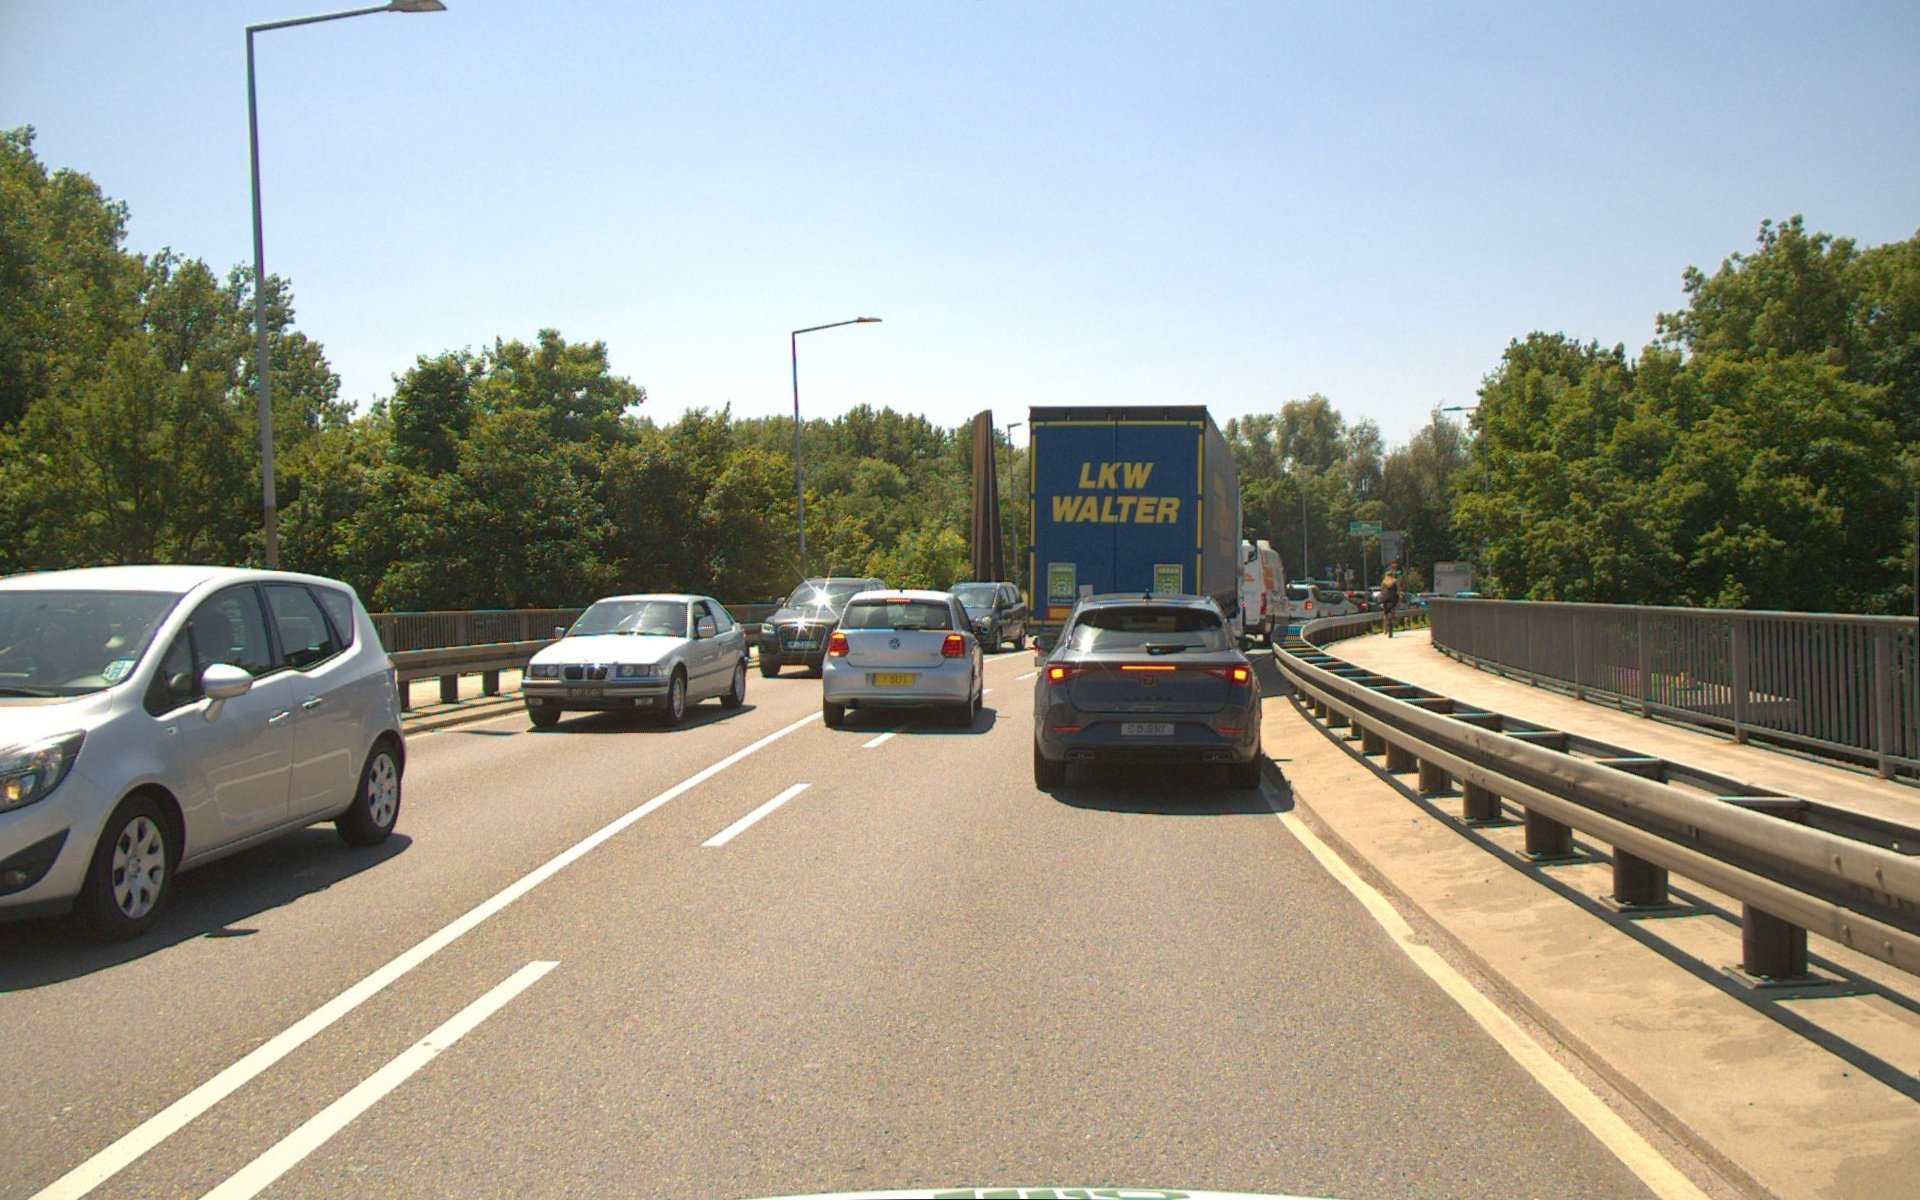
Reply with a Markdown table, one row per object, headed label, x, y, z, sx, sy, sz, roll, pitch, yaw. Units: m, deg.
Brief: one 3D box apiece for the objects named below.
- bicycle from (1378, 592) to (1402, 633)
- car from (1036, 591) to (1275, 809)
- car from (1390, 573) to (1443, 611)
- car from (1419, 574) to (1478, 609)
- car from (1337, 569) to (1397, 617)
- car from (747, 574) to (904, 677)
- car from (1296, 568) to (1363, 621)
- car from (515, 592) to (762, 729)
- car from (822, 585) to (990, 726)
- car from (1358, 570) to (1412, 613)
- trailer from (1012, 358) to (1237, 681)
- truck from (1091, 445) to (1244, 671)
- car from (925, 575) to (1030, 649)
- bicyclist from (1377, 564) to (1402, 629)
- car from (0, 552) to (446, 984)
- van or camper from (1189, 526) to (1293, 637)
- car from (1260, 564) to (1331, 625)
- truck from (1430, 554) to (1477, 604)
| label | x | y | z | sx | sy | sz | roll | pitch | yaw |
| --- | --- | --- | --- | --- | --- | --- | --- | --- | --- |
| bicycle | 11.677 | 0.324 | 44.888 | 0.569 | 1.053 | 1.486 | -3 | 0 | 14 |
| car | 1.513 | 0.677 | 13.409 | 1.642 | 1.481 | 3.961 | 0 | 0 | 5 |
| car | 22.004 | -0.381 | 79.646 | 1.653 | 1.791 | 3.994 | 0 | 0 | 28 |
| car | 25.395 | -0.436 | 85.882 | 1.957 | 1.602 | 3.990 | 2 | 0 | 31 |
| car | 16.603 | -0.311 | 67.356 | 1.686 | 1.876 | 3.998 | 0 | 1 | 24 |
| car | -2.276 | 0.392 | 29.169 | 1.762 | 1.669 | 4.304 | 0 | 0 | 9 |
| car | 13.352 | -0.219 | 59.617 | 1.686 | 1.834 | 3.999 | 0 | 1 | 23 |
| car | -3.565 | 0.615 | 19.075 | 1.661 | 1.400 | 4.003 | -1 | 0 | 6 |
| car | -0.529 | 0.564 | 19.286 | 1.642 | 1.435 | 3.977 | 1 | 1 | 3 |
| car | 18.855 | -0.401 | 73.219 | 1.686 | 1.876 | 3.998 | 0 | 1 | 24 |
| trailer | 3.313 | -1.206 | 29.380 | 2.842 | 4.495 | 12.444 | 1 | 1 | 11 |
| truck | 4.700 | -0.895 | 36.461 | 2.842 | 4.495 | 6.561 | 1 | 1 | 11 |
| car | 0.481 | 0.251 | 39.900 | 1.670 | 1.654 | 4.256 | 1 | 1 | 12 |
| bicyclist | 11.637 | -0.091 | 44.806 | 0.565 | 1.712 | 0.730 | -3 | 0 | 14 |
| car | -4.173 | 0.618 | 8.281 | 1.700 | 1.607 | 4.178 | 0 | 0 | 3 |
| van or camper | 7.884 | -0.524 | 45.863 | 2.108 | 2.864 | 6.391 | 0 | 1 | 16 |
| car | 10.847 | -0.204 | 53.318 | 1.685 | 1.876 | 4.001 | 0 | 1 | 20 |
| truck | 29.706 | -1.264 | 99.468 | 2.286 | 2.924 | 5.941 | 0 | 1 | 21 |
